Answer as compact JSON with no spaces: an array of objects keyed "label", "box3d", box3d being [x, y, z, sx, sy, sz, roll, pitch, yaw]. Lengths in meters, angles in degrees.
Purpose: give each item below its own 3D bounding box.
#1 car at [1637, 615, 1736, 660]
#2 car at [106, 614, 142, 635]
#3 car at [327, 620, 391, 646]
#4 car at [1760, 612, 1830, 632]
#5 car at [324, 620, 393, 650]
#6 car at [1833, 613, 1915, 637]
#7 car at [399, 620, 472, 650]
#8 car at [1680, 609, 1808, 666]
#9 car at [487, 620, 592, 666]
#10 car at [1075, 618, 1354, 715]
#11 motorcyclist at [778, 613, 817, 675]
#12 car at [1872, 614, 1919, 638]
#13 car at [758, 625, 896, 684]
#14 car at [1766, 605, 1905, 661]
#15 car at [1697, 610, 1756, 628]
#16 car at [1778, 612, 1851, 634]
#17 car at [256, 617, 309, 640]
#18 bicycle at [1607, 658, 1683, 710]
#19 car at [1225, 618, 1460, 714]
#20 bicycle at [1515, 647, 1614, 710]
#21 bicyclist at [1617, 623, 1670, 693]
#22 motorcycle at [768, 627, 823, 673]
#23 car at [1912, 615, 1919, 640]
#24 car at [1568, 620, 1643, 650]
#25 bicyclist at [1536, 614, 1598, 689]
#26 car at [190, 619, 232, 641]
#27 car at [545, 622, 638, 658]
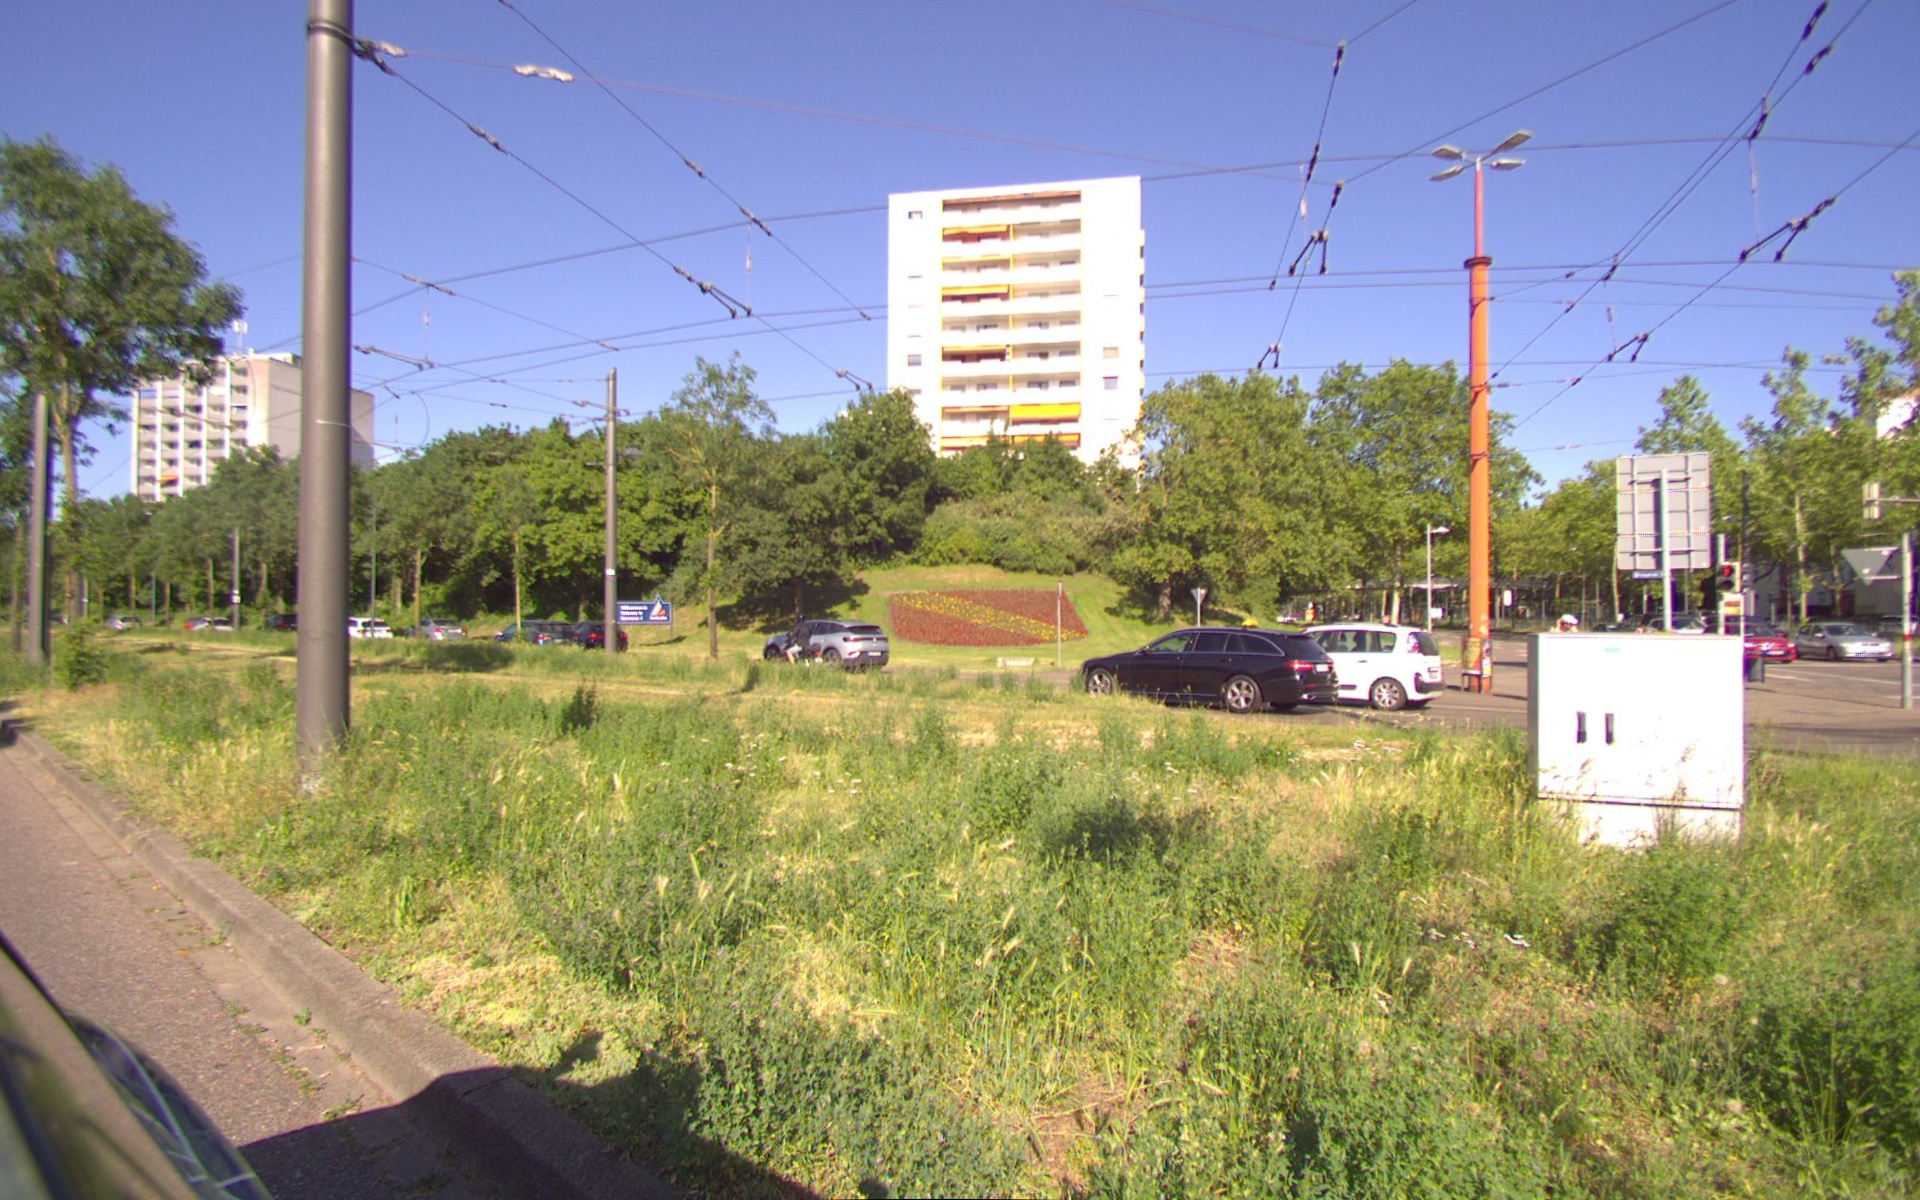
[{"label":"car","box3d":[30.727,1.558,42.930,1.893,1.763,3.985,-1,0,11]},{"label":"car","box3d":[-68.992,2.018,83.524,3.757,1.620,1.744,-1,-2,42]},{"label":"car","box3d":[-35.987,1.960,60.526,4.693,1.443,1.972,-1,-2,42]},{"label":"car","box3d":[68.308,1.778,82.835,1.864,1.608,4.010,0,0,-34]},{"label":"car","box3d":[-29.767,1.697,50.010,4.642,1.433,1.685,-1,-2,42]},{"label":"car","box3d":[65.543,1.772,72.617,1.864,1.608,4.010,0,0,-34]},{"label":"car","box3d":[-26.838,1.752,51.720,4.400,1.384,1.972,-1,0,43]},{"label":"car","box3d":[28.679,1.322,37.218,1.979,1.915,4.259,-1,0,11]},{"label":"car","box3d":[-15.461,1.535,37.102,4.465,1.606,1.971,-1,-2,44]},{"label":"car","box3d":[4.517,1.103,18.422,4.603,1.496,1.856,-1,0,41]},{"label":"motorcyclist","box3d":[-4.343,1.170,27.070,0.825,1.611,0.641,0,0,-41]},{"label":"car","box3d":[64.832,1.767,68.717,1.864,1.608,4.010,0,0,-34]},{"label":"car","box3d":[-4.103,1.591,30.802,4.439,1.613,1.817,-1,-2,44]},{"label":"car","box3d":[31.875,1.165,37.036,1.979,1.915,4.259,-1,0,11]},{"label":"car","box3d":[71.667,1.783,94.704,1.864,1.608,4.010,0,0,-34]},{"label":"car","box3d":[67.081,1.779,79.510,1.864,1.608,4.010,0,0,-34]},{"label":"car","box3d":[-45.924,1.915,68.599,4.631,1.492,1.972,-1,0,43]},{"label":"bicycle","box3d":[13.406,1.626,19.849,0.363,0.889,1.626,-1,0,0]},{"label":"car","box3d":[7.573,1.230,20.268,4.060,1.720,1.781,-1,-2,43]},{"label":"bicycle","box3d":[12.108,1.545,20.361,0.467,1.089,2.362,-1,0,-3]},{"label":"bicyclist","box3d":[13.395,1.119,19.856,0.541,1.333,0.700,-1,0,0]},{"label":"motorcycle","box3d":[-4.428,1.321,27.148,0.416,1.140,2.098,0,0,-41]},{"label":"car","box3d":[64.150,1.761,65.011,1.864,1.608,4.010,0,0,-34]},{"label":"car","box3d":[31.536,1.692,49.549,1.718,1.332,3.985,-1,0,11]},{"label":"bicyclist","box3d":[12.098,1.010,20.179,0.741,1.441,0.758,-1,0,-4]},{"label":"car","box3d":[-50.361,2.008,68.038,4.183,1.484,1.571,-1,-2,44]},{"label":"car","box3d":[-14.918,1.595,40.851,4.030,1.352,1.841,-1,-2,42]}]
